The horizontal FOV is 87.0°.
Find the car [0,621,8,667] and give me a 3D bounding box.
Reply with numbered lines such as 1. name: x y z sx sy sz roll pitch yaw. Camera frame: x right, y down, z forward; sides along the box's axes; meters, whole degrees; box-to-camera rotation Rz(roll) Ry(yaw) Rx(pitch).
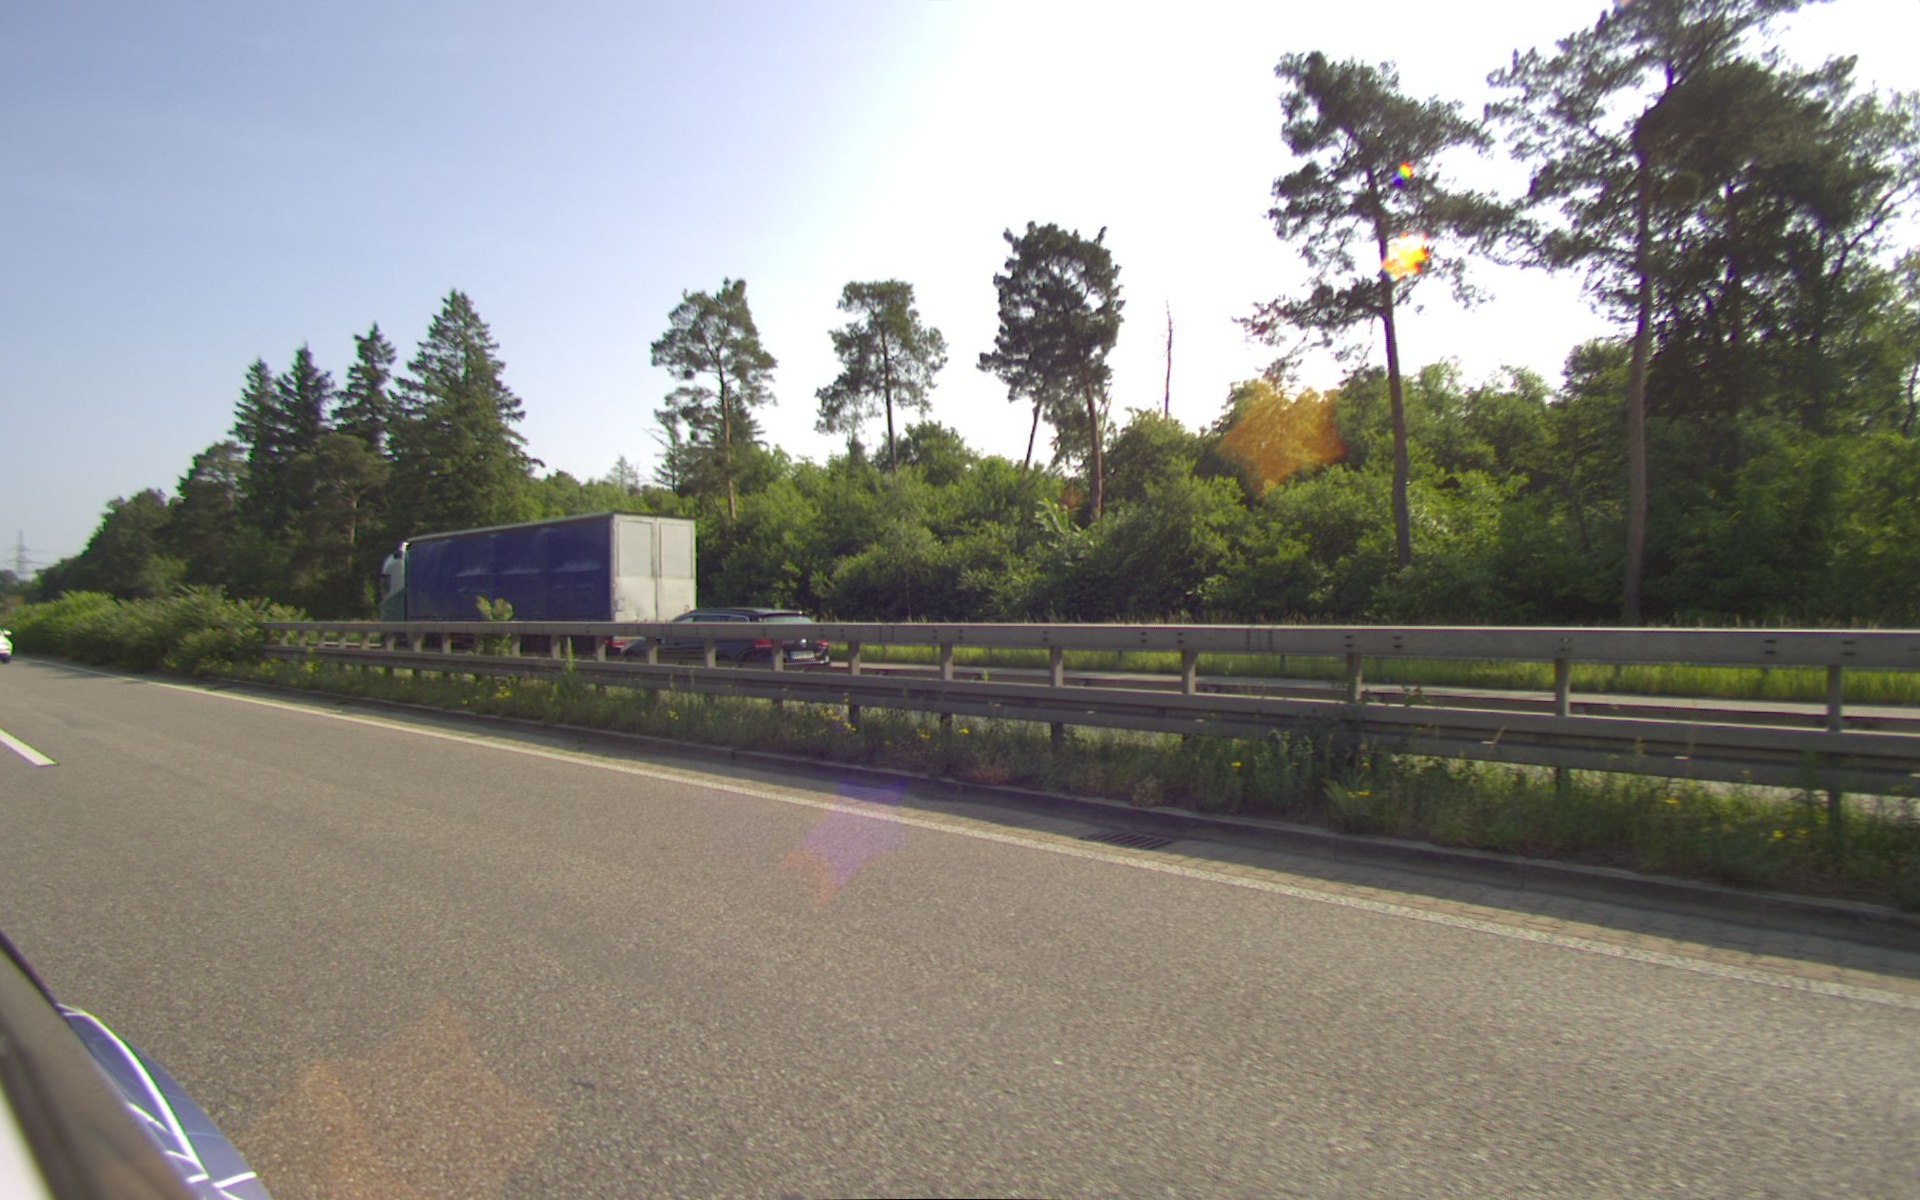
1. car: -33.781 1.481 34.373 5.263 1.497 1.731 -1 -1 43

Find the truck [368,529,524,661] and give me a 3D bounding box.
1. truck: -18.185 -0.086 35.655 6.290 4.232 2.681 -1 -2 41

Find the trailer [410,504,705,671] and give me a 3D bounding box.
1. trailer: -12.764 -0.193 30.932 13.072 4.232 2.664 -1 -2 41

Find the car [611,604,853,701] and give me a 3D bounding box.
1. car: -4.079 0.852 17.668 4.578 1.460 1.687 -1 0 40
